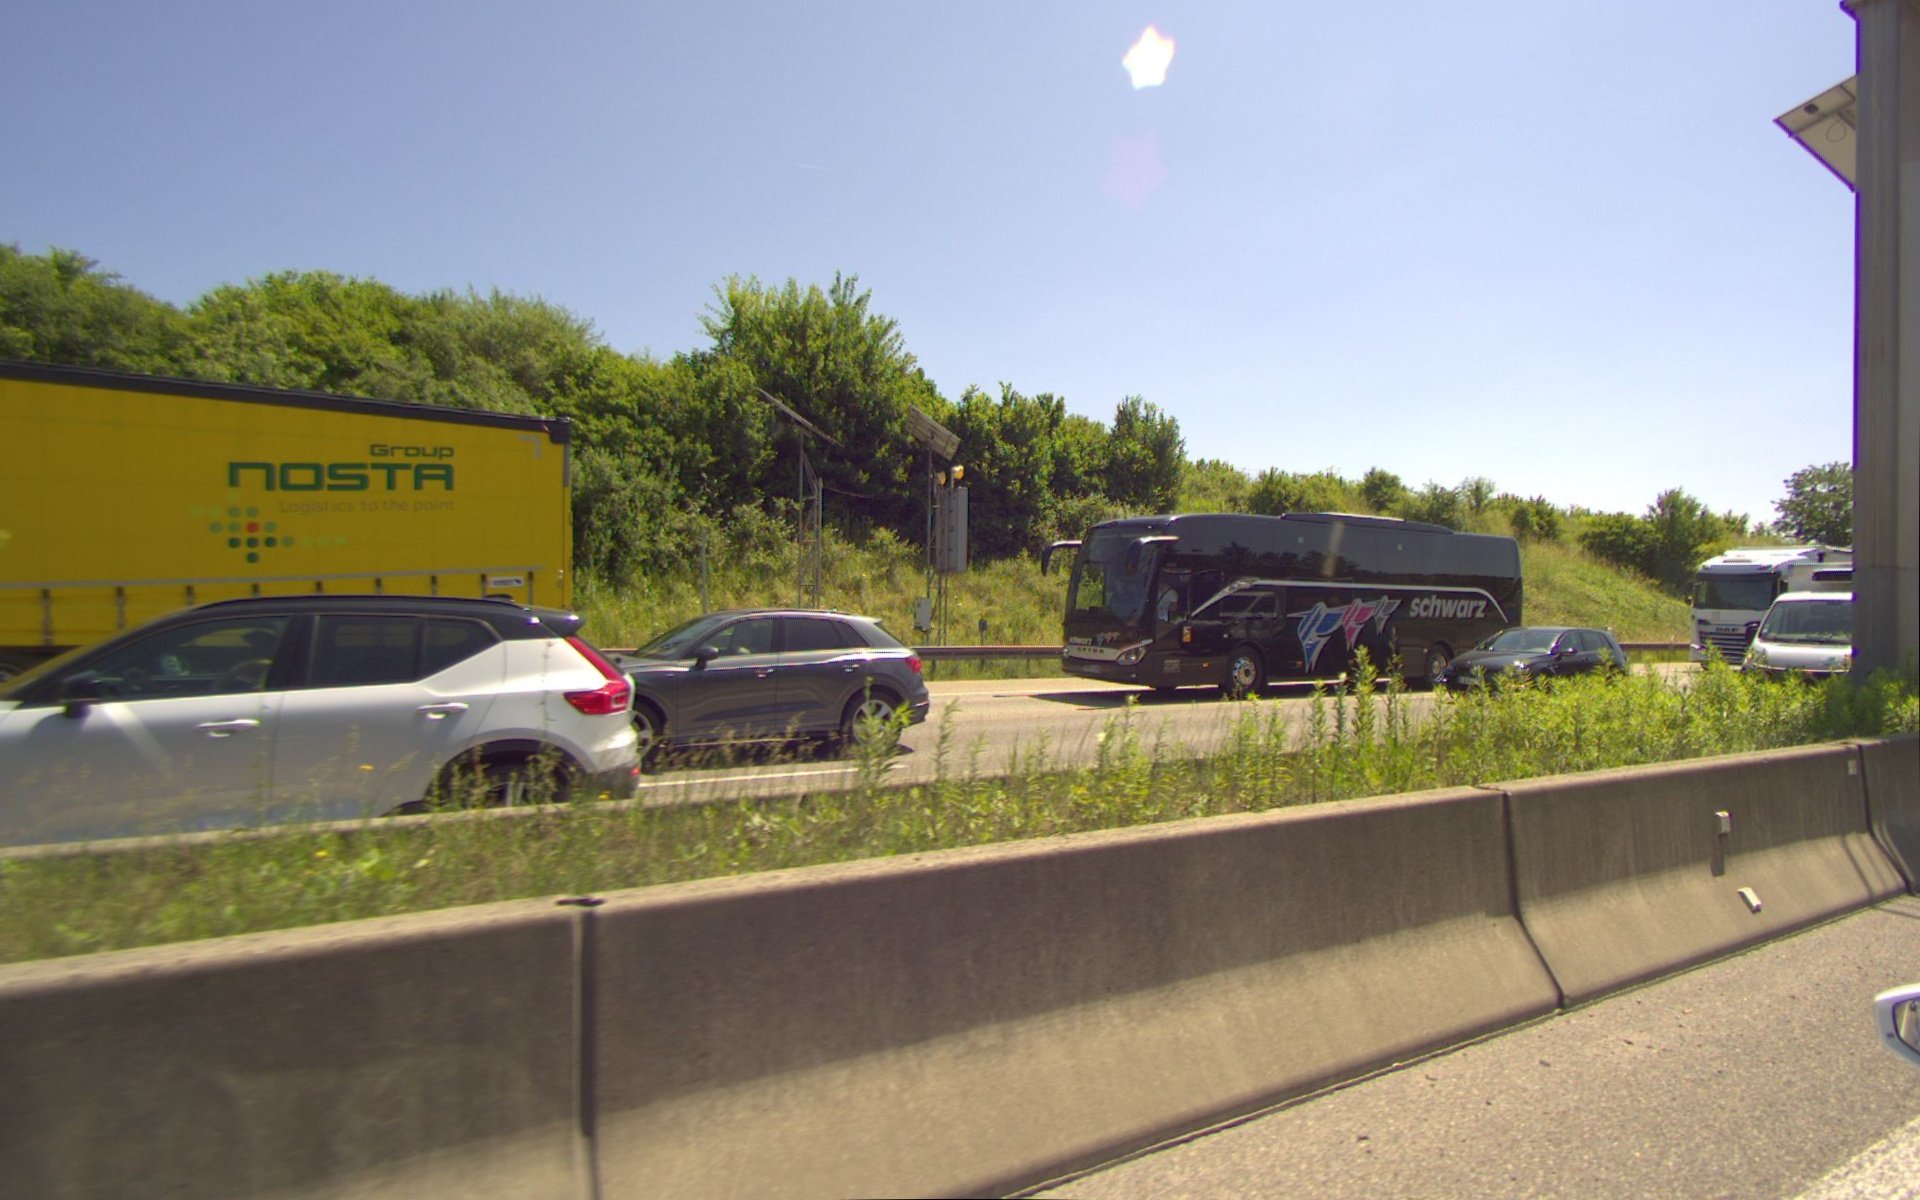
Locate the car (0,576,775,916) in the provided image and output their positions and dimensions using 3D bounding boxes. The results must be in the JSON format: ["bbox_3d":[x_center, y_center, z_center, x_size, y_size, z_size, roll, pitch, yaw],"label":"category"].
[{"bbox_3d":[-3.774,0.683,5.893,4.971,1.533,1.803,2,0,-30],"label":"car"}]

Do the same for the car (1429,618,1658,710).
[{"bbox_3d":[11.465,1.212,19.666,4.704,1.569,1.767,2,0,-30],"label":"car"}]

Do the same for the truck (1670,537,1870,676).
[{"bbox_3d":[26.827,0.313,33.207,6.945,4.168,2.769,2,-1,-29],"label":"truck"}]

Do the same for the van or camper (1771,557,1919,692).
[{"bbox_3d":[26.232,0.723,28.255,7.846,3.404,2.518,2,0,-29],"label":"van or camper"}]

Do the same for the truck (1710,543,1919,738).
[{"bbox_3d":[15.625,0.680,17.257,6.139,2.879,2.110,2,0,-30],"label":"truck"}]

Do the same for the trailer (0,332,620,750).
[{"bbox_3d":[-10.196,-0.596,11.324,11.714,4.199,2.638,2,0,-30],"label":"trailer"}]

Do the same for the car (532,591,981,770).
[{"bbox_3d":[-2.159,0.793,11.049,4.505,1.634,1.767,2,0,-30],"label":"car"}]

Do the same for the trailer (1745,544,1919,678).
[{"bbox_3d":[33.237,0.535,36.820,11.568,4.362,2.769,2,-1,-29],"label":"trailer"}]

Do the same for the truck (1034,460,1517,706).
[{"bbox_3d":[7.174,-0.139,21.626,11.354,4.278,3.041,2,0,-31],"label":"truck"}]
